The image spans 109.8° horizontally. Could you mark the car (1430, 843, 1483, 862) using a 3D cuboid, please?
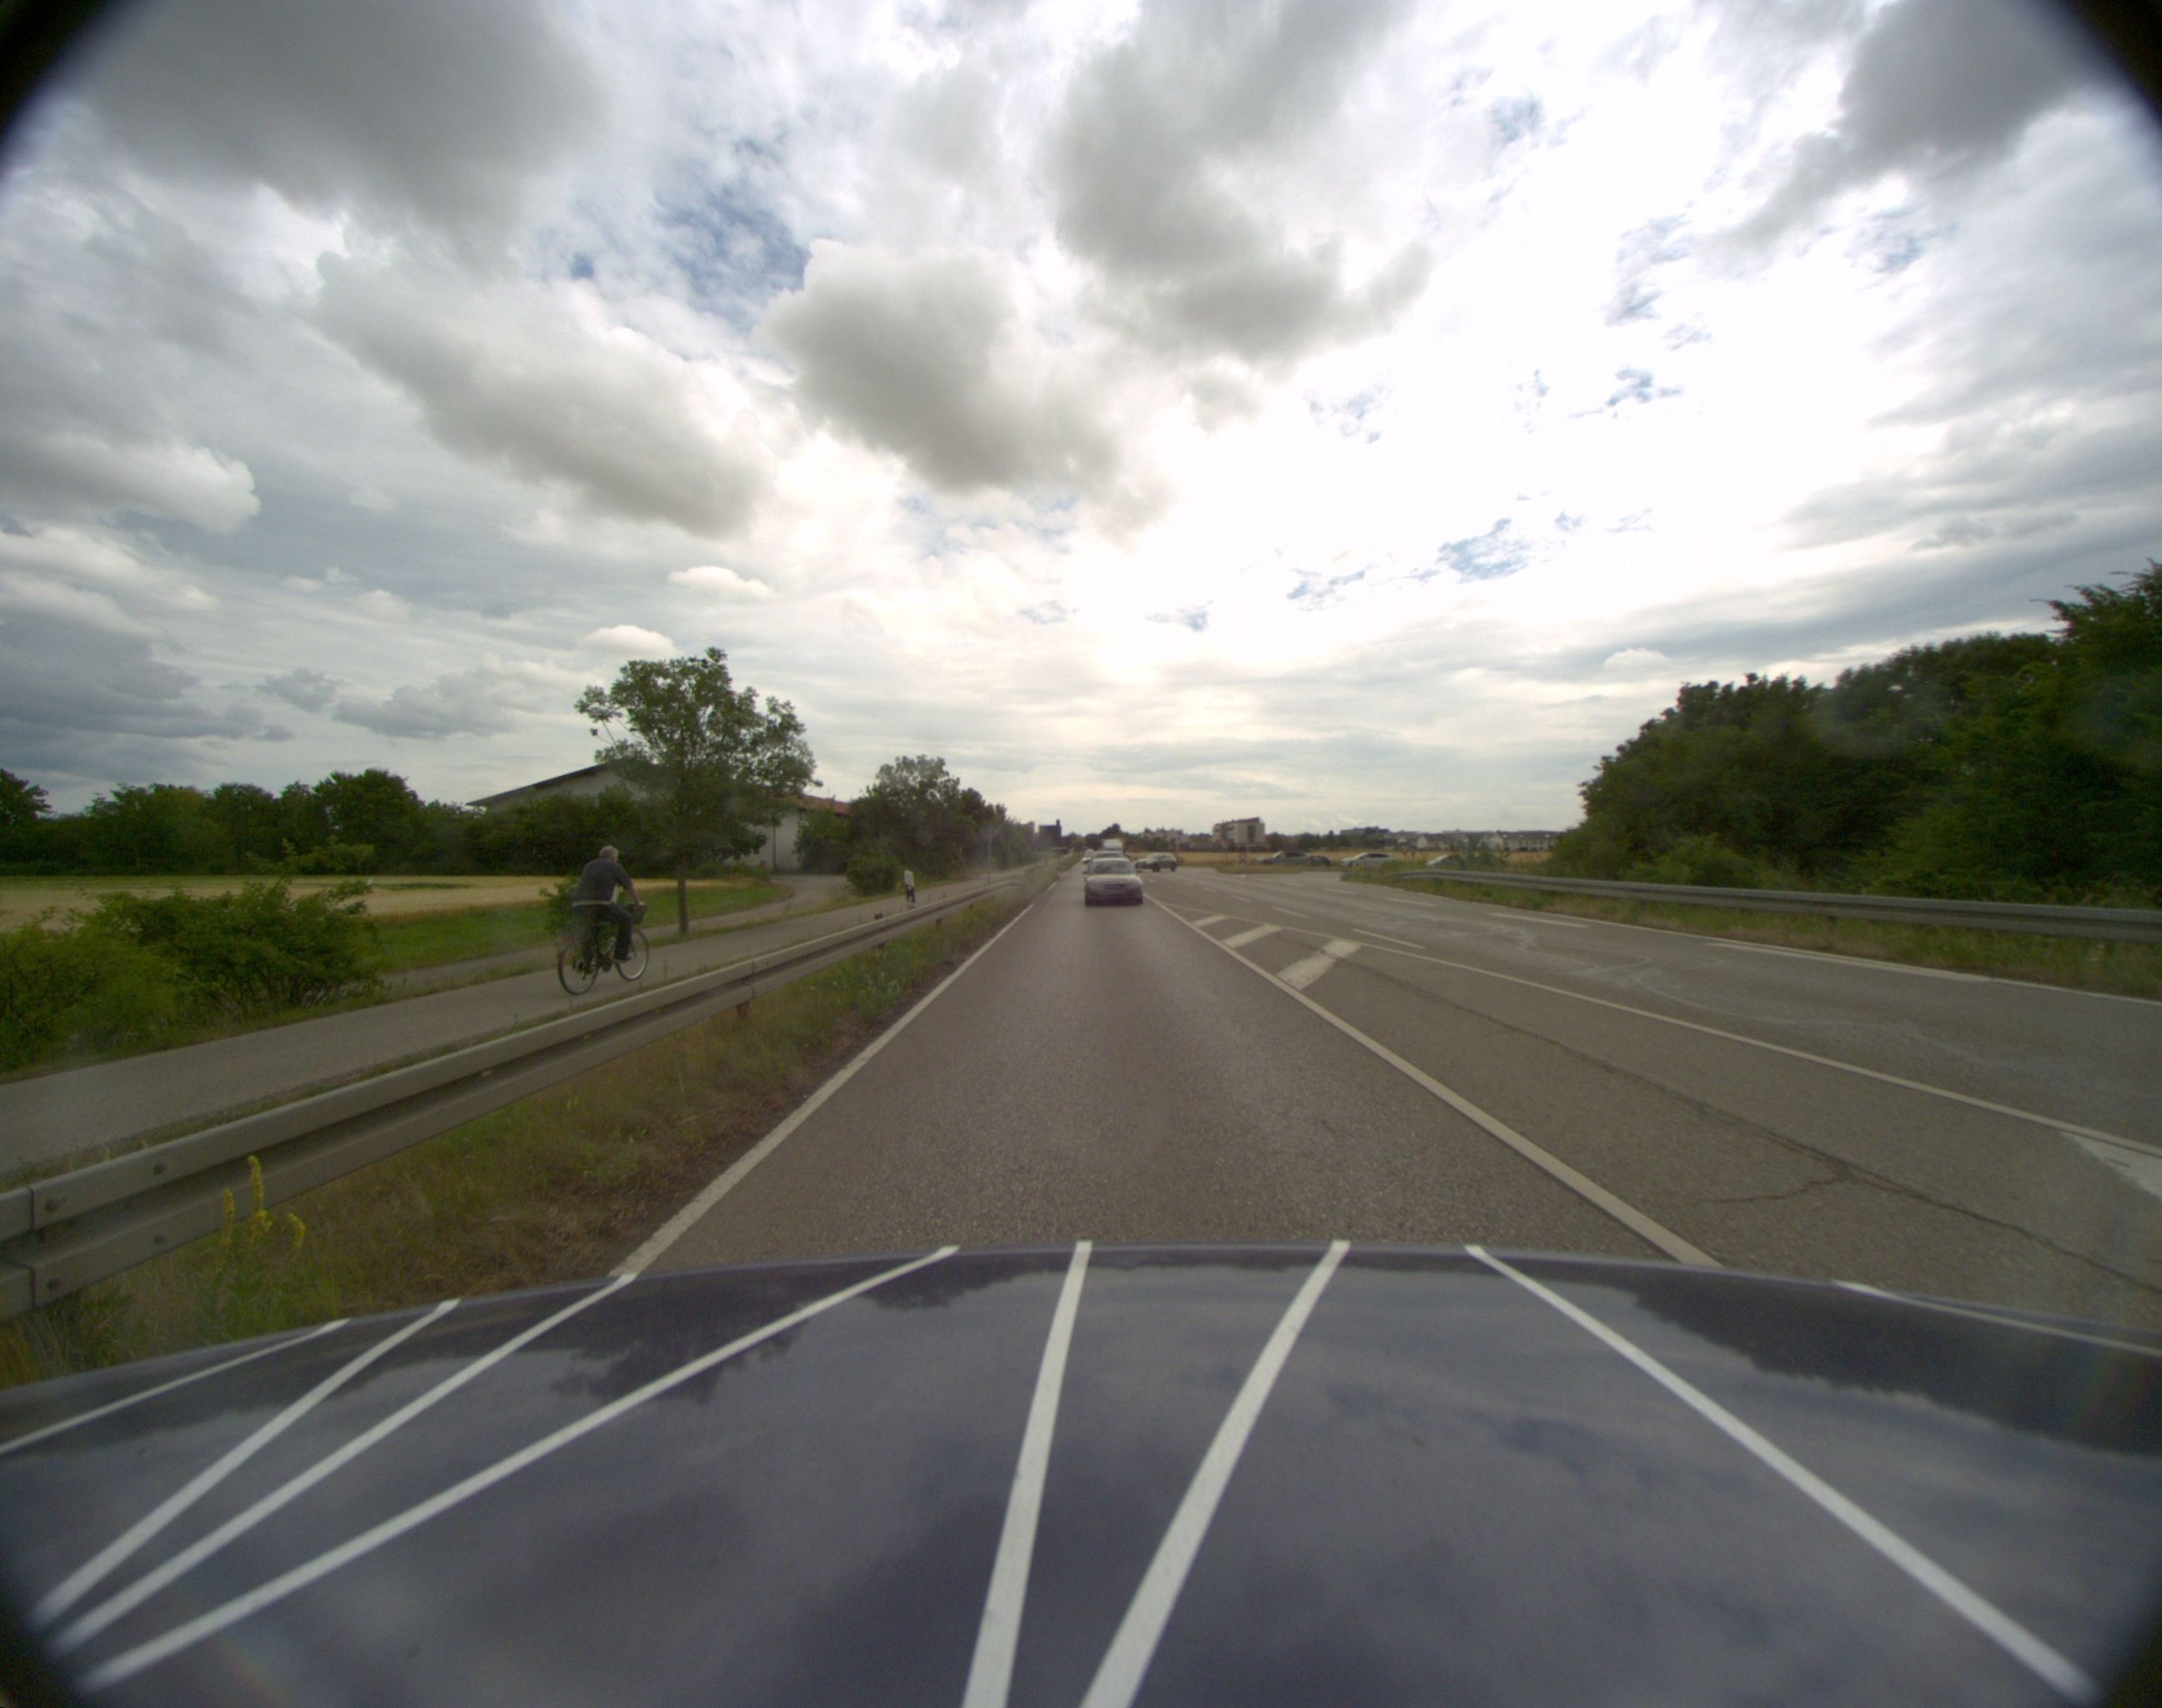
[{"bbox_3d":[32.301,-0.131,65.444,3.714,1.490,1.731,-1,1,8],"label":"car"}]

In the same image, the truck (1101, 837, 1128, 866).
[{"bbox_3d":[4.232,-0.349,97.019,2.931,3.541,7.604,-2,1,-1],"label":"truck"}]

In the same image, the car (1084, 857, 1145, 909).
[{"bbox_3d":[0.986,0.863,24.248,1.730,1.436,4.204,-1,0,0],"label":"car"}]

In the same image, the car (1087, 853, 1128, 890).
[{"bbox_3d":[1.163,0.751,34.651,1.730,1.534,4.204,-1,0,0],"label":"car"}]

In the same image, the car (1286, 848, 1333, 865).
[{"bbox_3d":[21.080,0.233,70.157,3.833,1.481,2.001,-1,1,7],"label":"car"}]

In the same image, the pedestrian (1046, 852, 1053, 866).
[{"bbox_3d":[-3.394,0.521,81.197,0.591,1.512,0.501,-2,1,7],"label":"pedestrian"}]

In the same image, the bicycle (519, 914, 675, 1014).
[{"bbox_3d":[-6.147,1.350,9.819,0.640,0.972,2.072,-1,1,1],"label":"bicycle"}]

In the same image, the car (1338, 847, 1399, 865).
[{"bbox_3d":[25.209,0.139,66.737,4.673,1.490,2.001,-1,1,8],"label":"car"}]

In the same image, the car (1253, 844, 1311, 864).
[{"bbox_3d":[17.946,-0.022,68.130,4.811,1.680,2.001,-1,1,8],"label":"car"}]

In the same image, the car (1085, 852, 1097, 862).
[{"bbox_3d":[1.430,0.393,109.797,1.730,1.436,4.204,-2,0,0],"label":"car"}]

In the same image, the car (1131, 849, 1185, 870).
[{"bbox_3d":[6.439,0.414,63.067,1.994,1.600,5.142,0,1,38],"label":"car"}]

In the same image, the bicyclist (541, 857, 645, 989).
[{"bbox_3d":[-6.155,0.834,9.634,0.640,1.573,0.969,-1,1,1],"label":"bicyclist"}]
